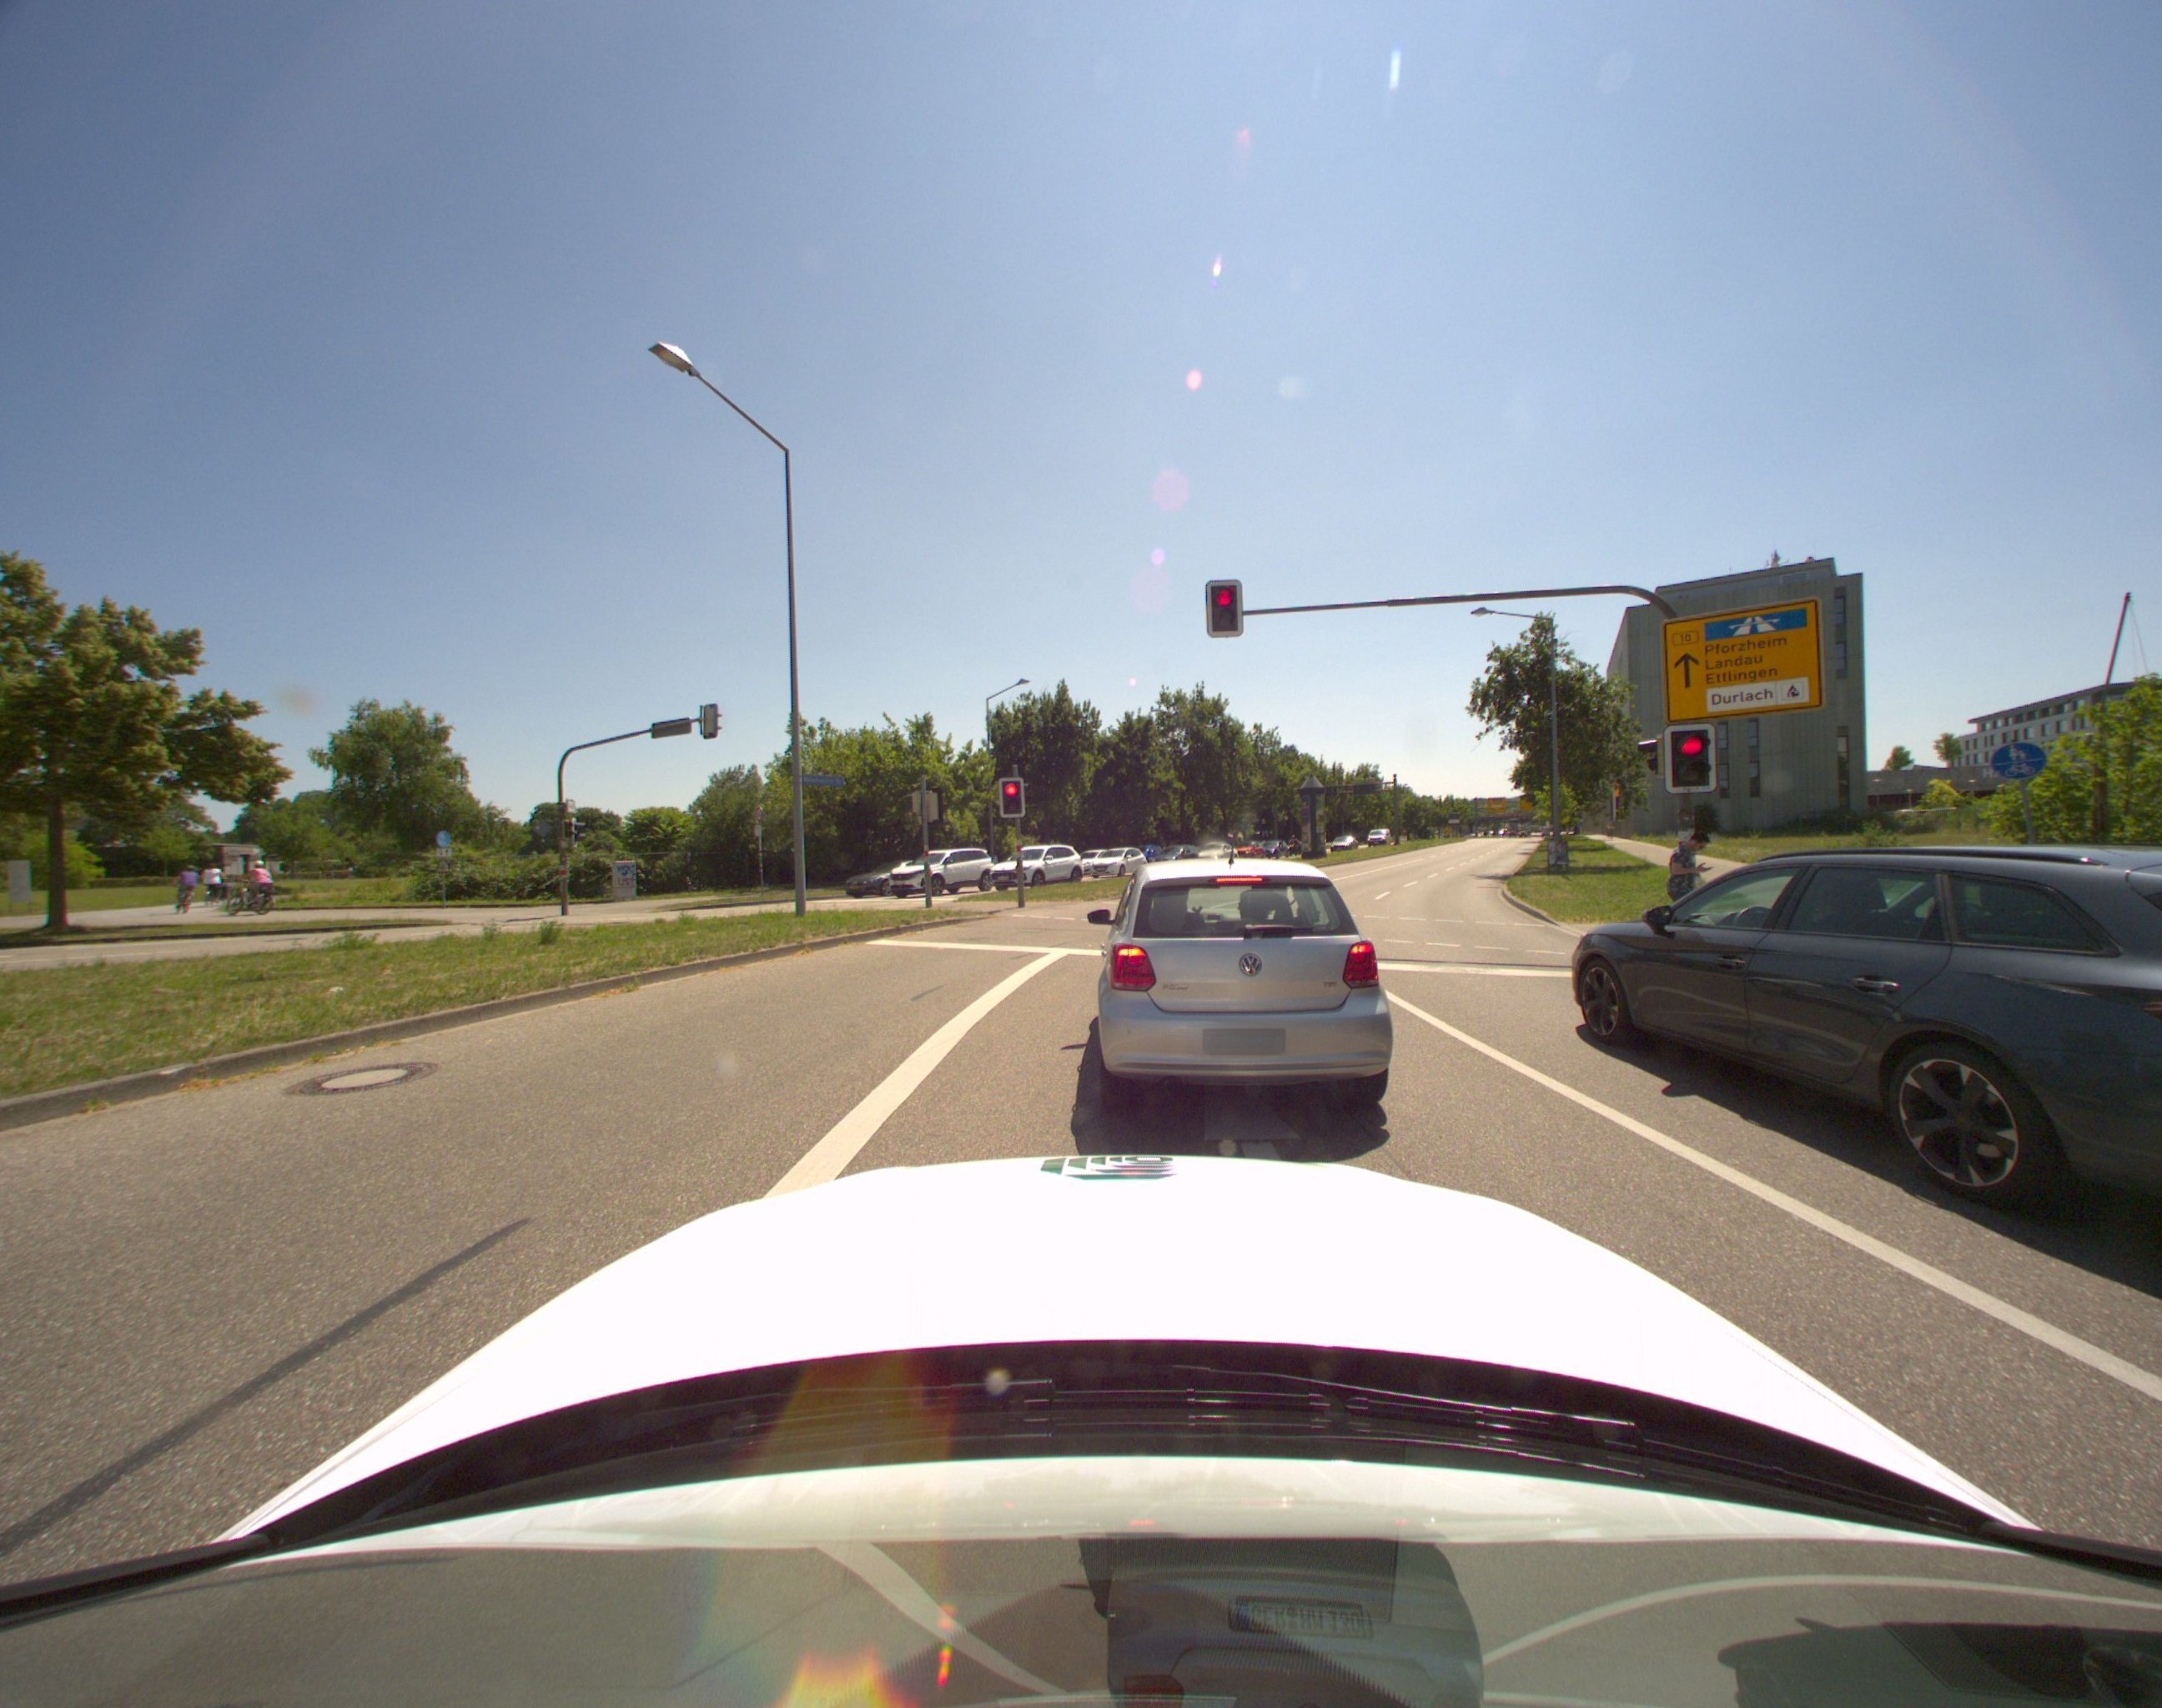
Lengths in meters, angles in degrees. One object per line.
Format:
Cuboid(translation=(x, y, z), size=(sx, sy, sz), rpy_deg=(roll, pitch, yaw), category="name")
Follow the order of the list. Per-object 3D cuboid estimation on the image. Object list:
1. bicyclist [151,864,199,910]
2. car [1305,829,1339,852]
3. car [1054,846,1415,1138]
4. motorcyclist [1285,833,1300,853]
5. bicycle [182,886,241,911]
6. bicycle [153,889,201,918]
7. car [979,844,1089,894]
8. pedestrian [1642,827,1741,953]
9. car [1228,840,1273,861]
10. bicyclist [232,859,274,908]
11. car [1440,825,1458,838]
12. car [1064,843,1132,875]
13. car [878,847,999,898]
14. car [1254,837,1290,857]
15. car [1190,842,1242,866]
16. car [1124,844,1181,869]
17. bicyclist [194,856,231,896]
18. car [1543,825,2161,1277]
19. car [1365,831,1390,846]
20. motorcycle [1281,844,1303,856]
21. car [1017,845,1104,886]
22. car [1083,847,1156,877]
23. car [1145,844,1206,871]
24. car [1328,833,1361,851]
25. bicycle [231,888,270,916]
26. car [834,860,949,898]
Cuboid(translation=(-32.667, 1.170, 29.394), size=(0.965, 1.531, 1.172), rpy_deg=(-2, 1, -40), category="bicyclist")
Cuboid(translation=(22.332, -1.243, 75.364), size=(1.974, 2.014, 4.025), rpy_deg=(-3, -1, 30), category="car")
Cuboid(translation=(1.000, 0.692, 6.119), size=(1.767, 1.422, 4.008), rpy_deg=(-2, 1, 7), category="car")
Cuboid(translation=(18.018, -0.933, 69.295), size=(0.897, 1.586, 1.017), rpy_deg=(-3, -1, 33), category="motorcyclist")
Cuboid(translation=(-36.176, 1.833, 33.928), size=(0.742, 0.912, 2.903), rpy_deg=(-2, -1, -27), category="bicycle")
Cuboid(translation=(-32.643, 1.780, 29.427), size=(0.903, 0.900, 1.742), rpy_deg=(0, 1, -40), category="bicycle")
Cuboid(translation=(-1.664, 0.512, 30.456), size=(1.840, 1.683, 4.436), rpy_deg=(-2, 1, 31), category="car")
Cuboid(translation=(8.334, 0.481, 11.169), size=(0.944, 1.637, 0.762), rpy_deg=(-3, -1, 31), category="pedestrian")
Cuboid(translation=(12.576, -0.280, 60.285), size=(1.840, 1.422, 4.436), rpy_deg=(-2, 1, 31), category="car")
Cuboid(translation=(-28.778, 1.013, 28.307), size=(1.171, 1.610, 0.966), rpy_deg=(-3, -1, 45), category="bicyclist")
Cuboid(translation=(52.881, -3.245, 117.036), size=(1.783, 1.692, 4.168), rpy_deg=(-3, -1, 31), category="car")
Cuboid(translation=(1.035, 0.269, 46.371), size=(1.840, 1.683, 4.436), rpy_deg=(-2, 1, 31), category="car")
Cuboid(translation=(-5.099, 0.629, 29.727), size=(1.840, 1.618, 4.436), rpy_deg=(-2, 1, 31), category="car")
Cuboid(translation=(15.144, -0.549, 64.457), size=(1.699, 1.475, 3.821), rpy_deg=(-3, -1, 30), category="car")
Cuboid(translation=(8.993, -0.021, 53.954), size=(1.840, 1.422, 4.436), rpy_deg=(-2, 1, 31), category="car")
Cuboid(translation=(4.660, 0.140, 52.608), size=(1.840, 1.422, 4.436), rpy_deg=(-2, 1, 31), category="car")
Cuboid(translation=(-36.205, 0.901, 33.952), size=(0.758, 1.614, 0.969), rpy_deg=(-2, -1, -30), category="bicyclist")
Cuboid(translation=(4.602, 0.589, 4.390), size=(1.984, 1.418, 4.462), rpy_deg=(-2, 1, 5), category="car")
Cuboid(translation=(32.245, -1.687, 88.494), size=(1.845, 1.554, 4.025), rpy_deg=(-1, 1, 30), category="car")
Cuboid(translation=(17.968, -0.340, 69.162), size=(0.886, 0.952, 2.834), rpy_deg=(-3, -1, 33), category="motorcycle")
Cuboid(translation=(-0.861, 0.506, 37.599), size=(1.840, 1.683, 4.436), rpy_deg=(-2, 1, 31), category="car")
Cuboid(translation=(2.066, 0.398, 42.446), size=(1.840, 1.422, 4.436), rpy_deg=(-2, 1, 31), category="car")
Cuboid(translation=(5.630, 0.201, 48.036), size=(1.840, 1.422, 4.436), rpy_deg=(-2, 1, 31), category="car")
Cuboid(translation=(23.687, -1.114, 73.090), size=(1.951, 1.488, 4.025), rpy_deg=(-1, 1, 30), category="car")
Cuboid(translation=(-28.860, 1.662, 28.316), size=(2.198, 0.900, 0.904), rpy_deg=(-3, -1, 45), category="bicycle")
Cuboid(translation=(-7.417, 0.951, 32.307), size=(1.840, 1.270, 4.436), rpy_deg=(-2, 1, 31), category="car")
